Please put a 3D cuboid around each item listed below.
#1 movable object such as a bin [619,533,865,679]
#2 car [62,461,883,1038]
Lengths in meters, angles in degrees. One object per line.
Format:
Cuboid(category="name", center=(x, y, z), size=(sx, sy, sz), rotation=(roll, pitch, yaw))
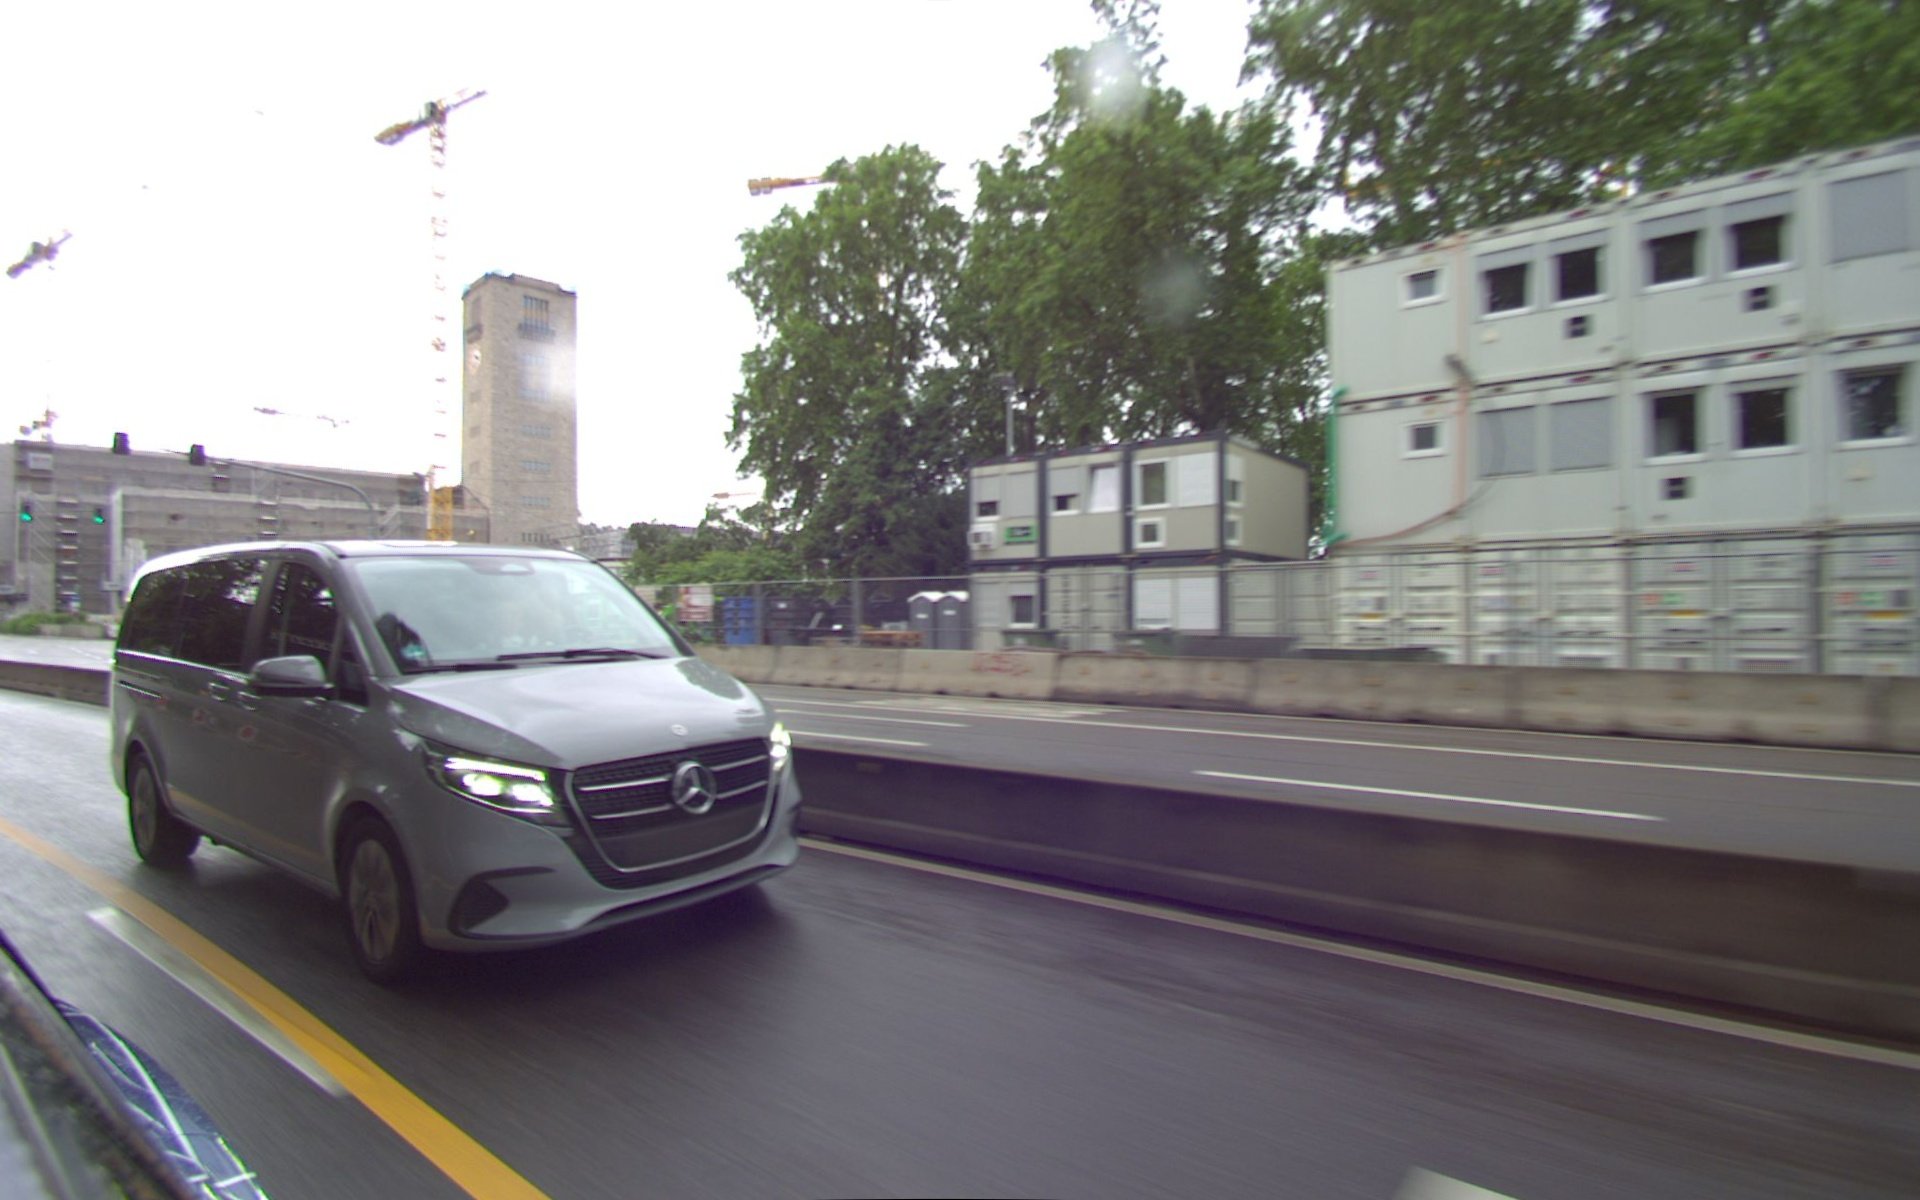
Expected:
Cuboid(category="movable object such as a bin", center=(-8.241, 0.306, 37.879), size=(8.346, 4.840, 4.705), rotation=(-1, -2, 37))
Cuboid(category="car", center=(-3.100, 0.554, 5.711), size=(5.349, 1.870, 1.975), rotation=(-2, -1, 38))
